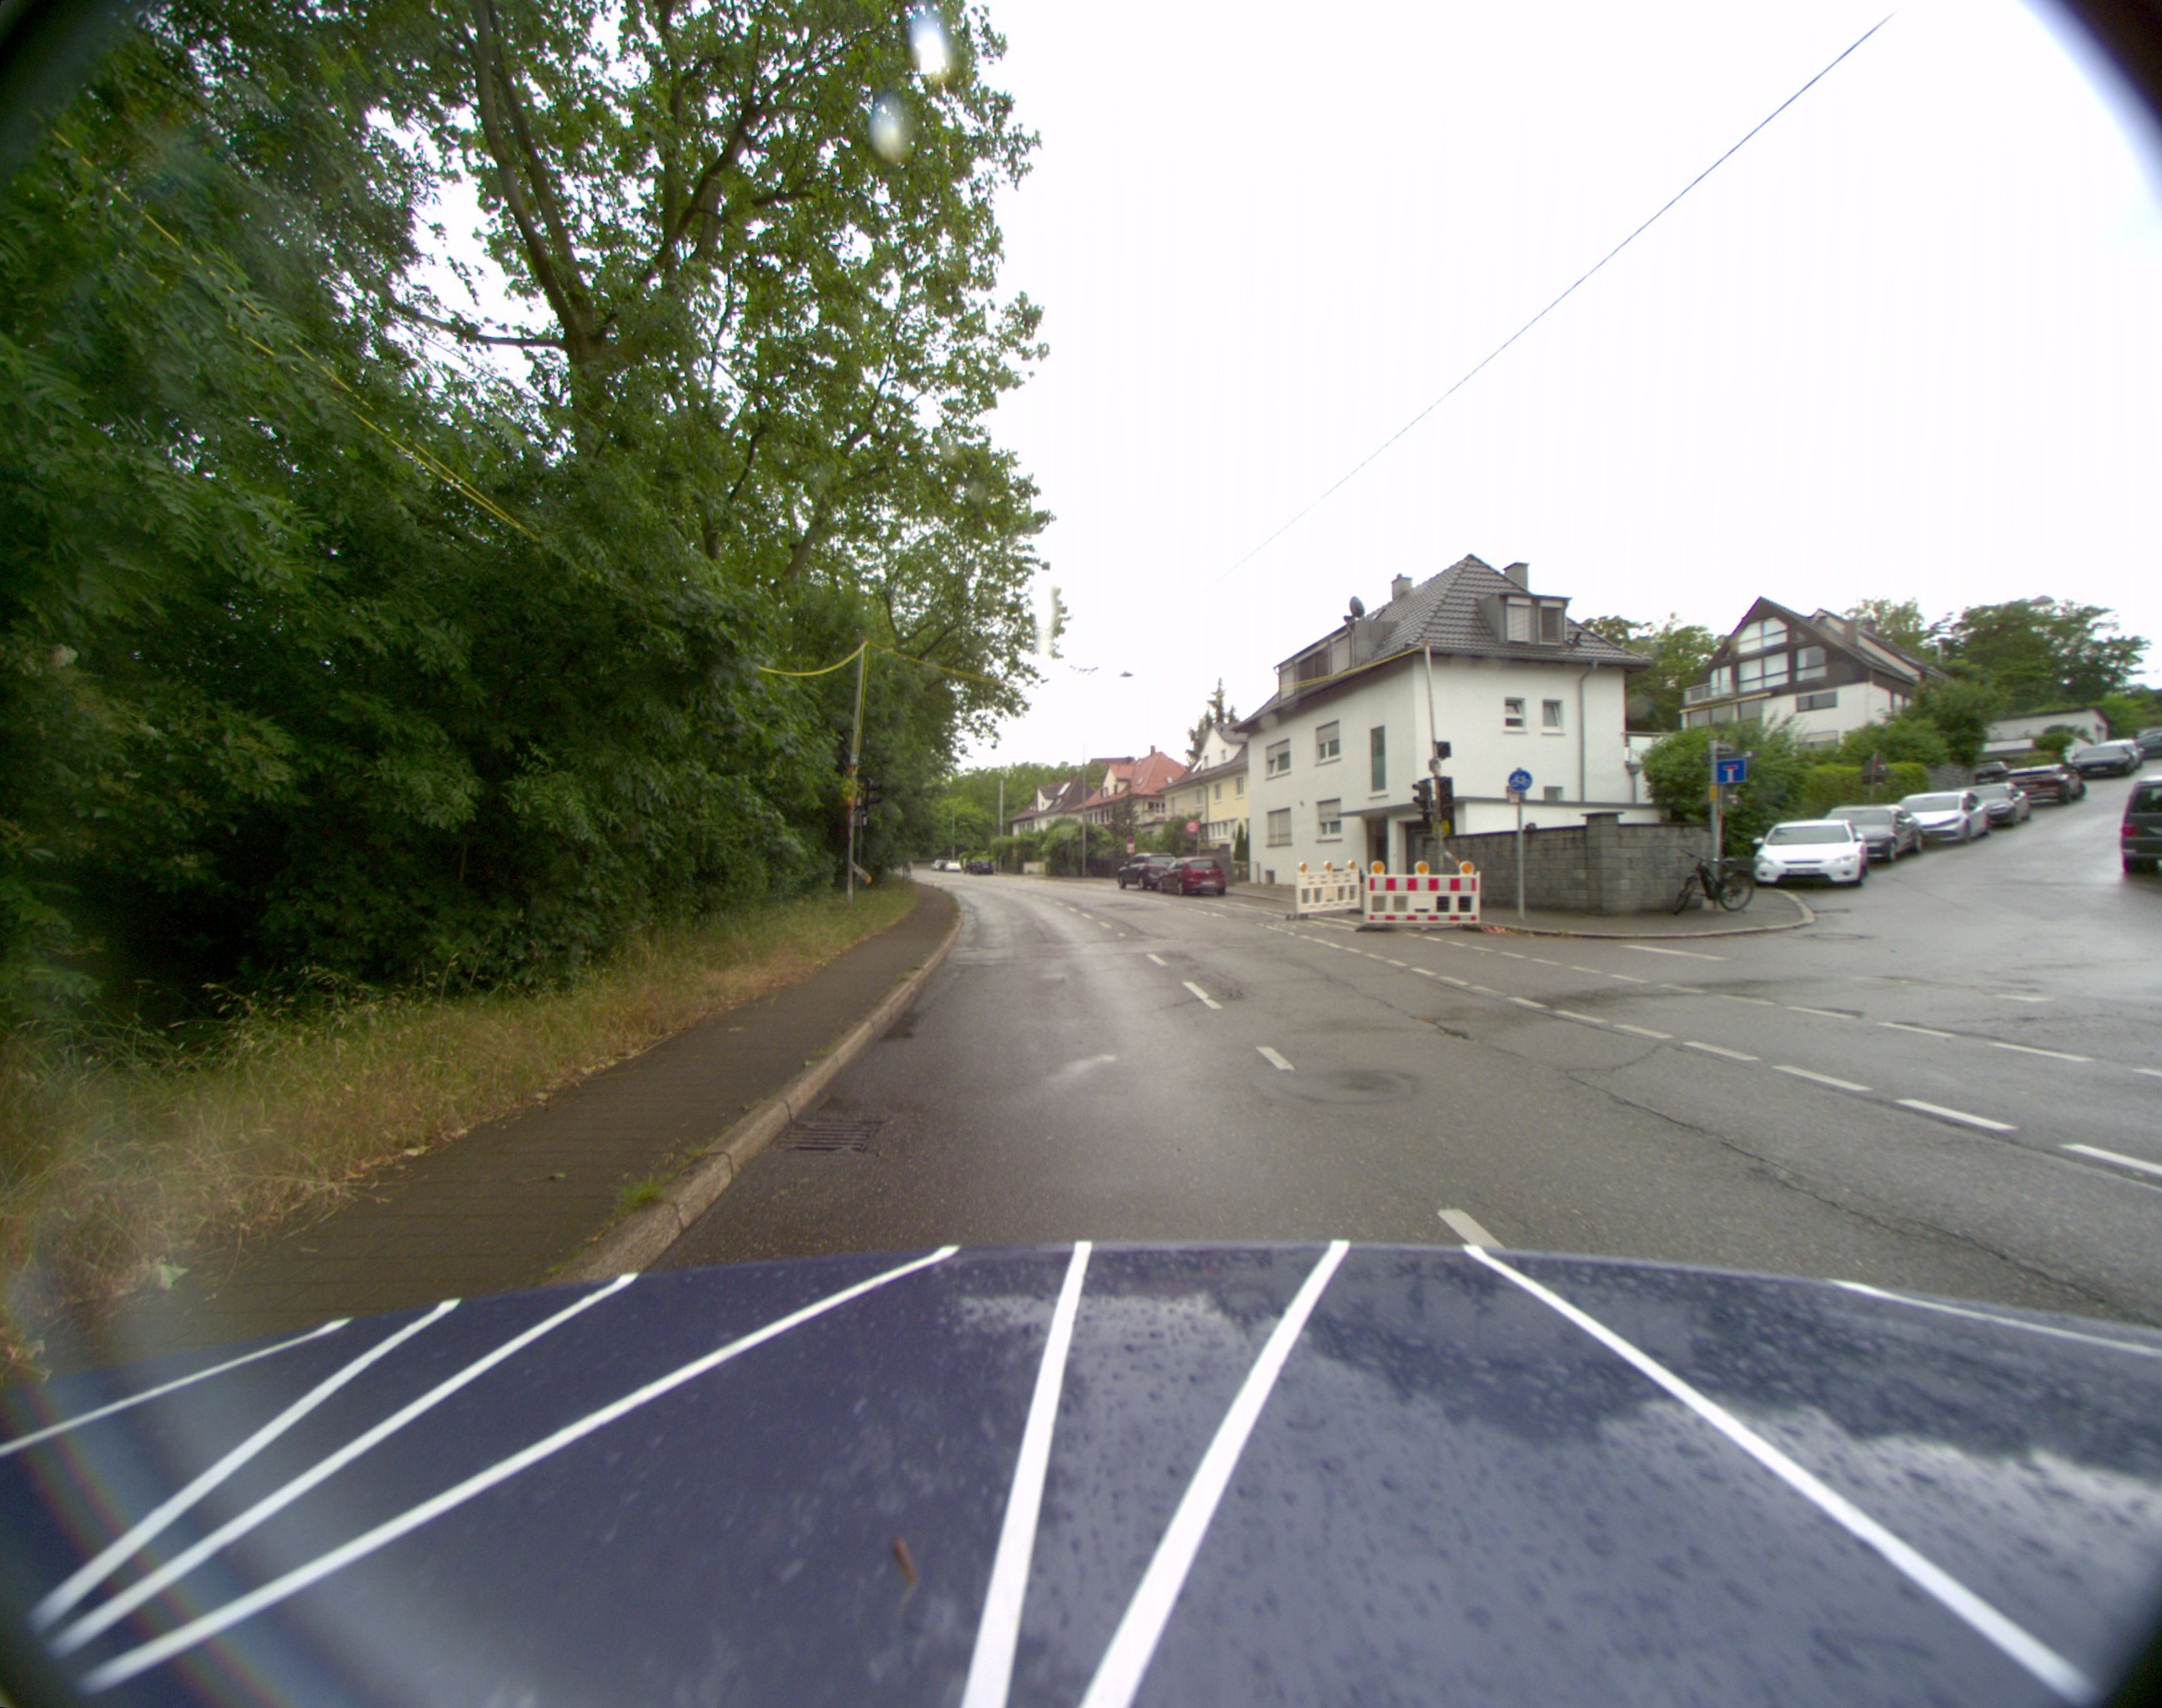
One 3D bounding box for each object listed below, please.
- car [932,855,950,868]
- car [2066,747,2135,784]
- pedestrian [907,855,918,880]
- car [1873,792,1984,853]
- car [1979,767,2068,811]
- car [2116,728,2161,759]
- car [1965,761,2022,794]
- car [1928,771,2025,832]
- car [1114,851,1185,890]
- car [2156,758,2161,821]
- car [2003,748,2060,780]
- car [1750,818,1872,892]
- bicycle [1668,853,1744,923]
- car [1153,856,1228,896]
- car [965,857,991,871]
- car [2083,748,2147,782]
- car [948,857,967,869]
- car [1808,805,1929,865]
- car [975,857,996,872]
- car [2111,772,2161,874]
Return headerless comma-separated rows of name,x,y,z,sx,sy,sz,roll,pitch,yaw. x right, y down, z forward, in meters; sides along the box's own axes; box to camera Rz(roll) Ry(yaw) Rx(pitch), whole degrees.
car,-19.041,1.043,103.189,1.739,1.414,4.275,-5,4,-18
car,54.095,-4.679,40.319,4.005,1.711,1.886,-4,3,-32
pedestrian,-11.300,0.902,50.924,0.644,1.602,0.668,-1,2,-19
car,27.045,-1.015,24.223,4.006,1.711,1.886,-5,3,-35
car,40.070,-2.748,32.297,4.006,1.711,1.886,-4,4,-32
car,68.453,-7.048,47.674,1.894,1.711,3.990,-4,3,-30
car,51.926,-4.316,43.282,4.007,1.711,1.886,-4,3,-42
car,32.135,-1.896,27.247,4.006,1.981,1.886,-5,3,-35
car,3.059,0.736,34.892,1.761,1.648,4.399,1,-1,-16
car,33.047,-2.015,22.090,4.005,1.736,1.864,-7,4,-32
car,57.403,-5.390,45.939,4.007,1.711,1.886,-5,3,-42
car,17.711,-0.028,18.379,4.007,1.458,1.886,-5,3,-42
bicycle,11.283,0.582,13.704,1.520,1.118,0.462,-4,3,-27
car,4.220,0.818,29.996,1.622,1.432,4.226,-1,0,-10
car,-10.804,1.045,79.480,1.695,1.410,4.208,1,-1,-21
car,59.345,-5.072,43.593,4.005,1.711,1.886,-4,3,-32
car,-15.294,1.102,93.790,1.705,1.459,3.704,-1,0,-20
car,22.516,-0.560,21.686,4.006,1.458,1.886,-5,3,-36
car,-9.488,1.036,75.517,1.525,1.445,3.025,1,-1,-18
car,23.703,-0.745,16.070,4.005,1.909,1.995,-7,4,-32
